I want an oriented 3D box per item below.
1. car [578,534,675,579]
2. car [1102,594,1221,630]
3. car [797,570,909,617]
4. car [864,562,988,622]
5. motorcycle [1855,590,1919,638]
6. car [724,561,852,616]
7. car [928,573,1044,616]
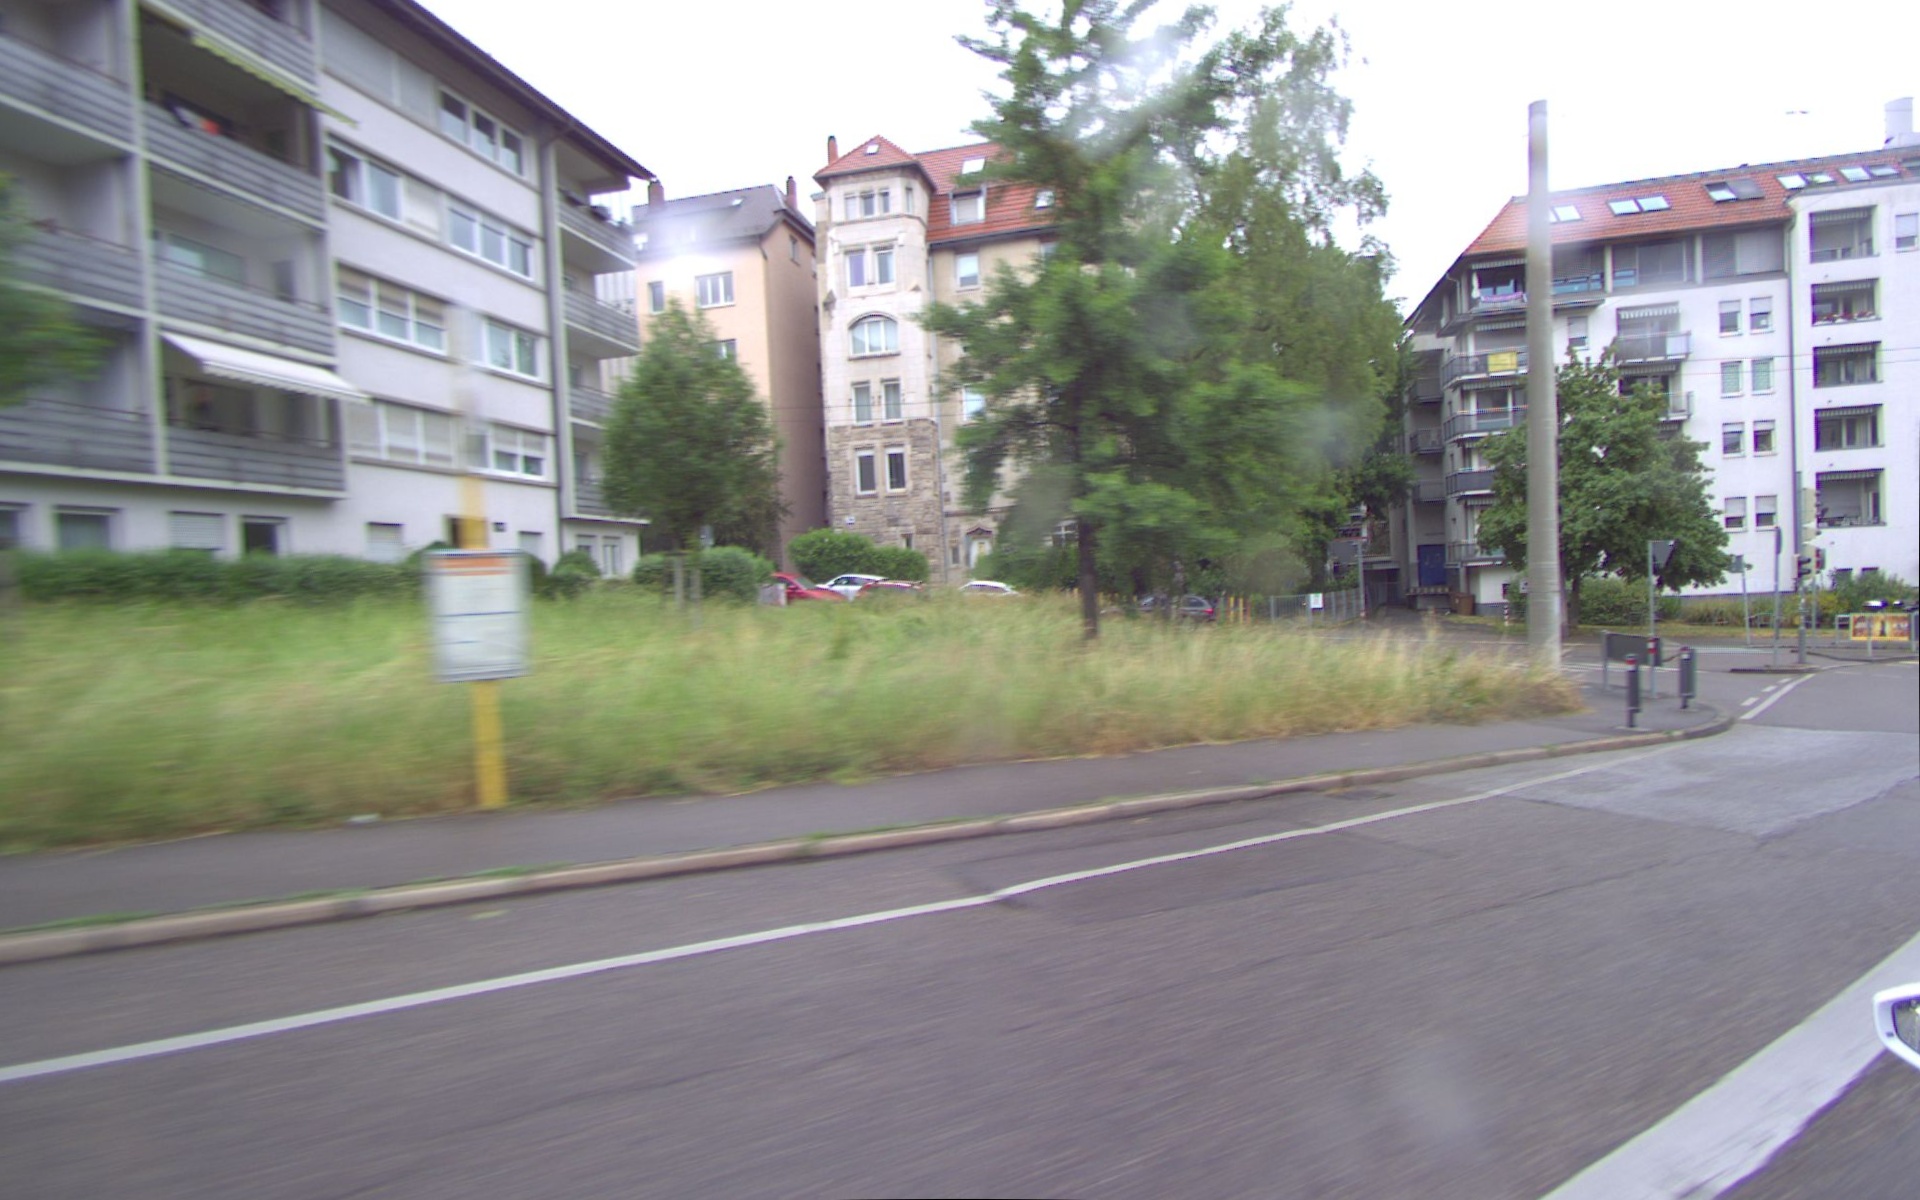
[{"bbox_3d":[-14.383,-1.851,43.412,3.592,1.859,1.682,1,1,11],"label":"car"},{"bbox_3d":[7.658,0.440,38.142,4.269,1.240,1.754,1,1,17],"label":"car"},{"bbox_3d":[-4.369,-0.255,41.237,4.197,1.859,1.807,0,-1,11],"label":"car"},{"bbox_3d":[-1.170,-0.280,35.350,3.920,2.041,2.001,0,0,16],"label":"car"},{"bbox_3d":[32.526,0.481,34.693,2.391,1.572,0.699,1,4,6],"label":"motorcycle"},{"bbox_3d":[-6.181,-0.428,36.263,4.197,1.859,1.807,1,1,11],"label":"car"},{"bbox_3d":[1.060,-0.230,40.105,4.268,1.615,2.001,1,1,13],"label":"car"}]
